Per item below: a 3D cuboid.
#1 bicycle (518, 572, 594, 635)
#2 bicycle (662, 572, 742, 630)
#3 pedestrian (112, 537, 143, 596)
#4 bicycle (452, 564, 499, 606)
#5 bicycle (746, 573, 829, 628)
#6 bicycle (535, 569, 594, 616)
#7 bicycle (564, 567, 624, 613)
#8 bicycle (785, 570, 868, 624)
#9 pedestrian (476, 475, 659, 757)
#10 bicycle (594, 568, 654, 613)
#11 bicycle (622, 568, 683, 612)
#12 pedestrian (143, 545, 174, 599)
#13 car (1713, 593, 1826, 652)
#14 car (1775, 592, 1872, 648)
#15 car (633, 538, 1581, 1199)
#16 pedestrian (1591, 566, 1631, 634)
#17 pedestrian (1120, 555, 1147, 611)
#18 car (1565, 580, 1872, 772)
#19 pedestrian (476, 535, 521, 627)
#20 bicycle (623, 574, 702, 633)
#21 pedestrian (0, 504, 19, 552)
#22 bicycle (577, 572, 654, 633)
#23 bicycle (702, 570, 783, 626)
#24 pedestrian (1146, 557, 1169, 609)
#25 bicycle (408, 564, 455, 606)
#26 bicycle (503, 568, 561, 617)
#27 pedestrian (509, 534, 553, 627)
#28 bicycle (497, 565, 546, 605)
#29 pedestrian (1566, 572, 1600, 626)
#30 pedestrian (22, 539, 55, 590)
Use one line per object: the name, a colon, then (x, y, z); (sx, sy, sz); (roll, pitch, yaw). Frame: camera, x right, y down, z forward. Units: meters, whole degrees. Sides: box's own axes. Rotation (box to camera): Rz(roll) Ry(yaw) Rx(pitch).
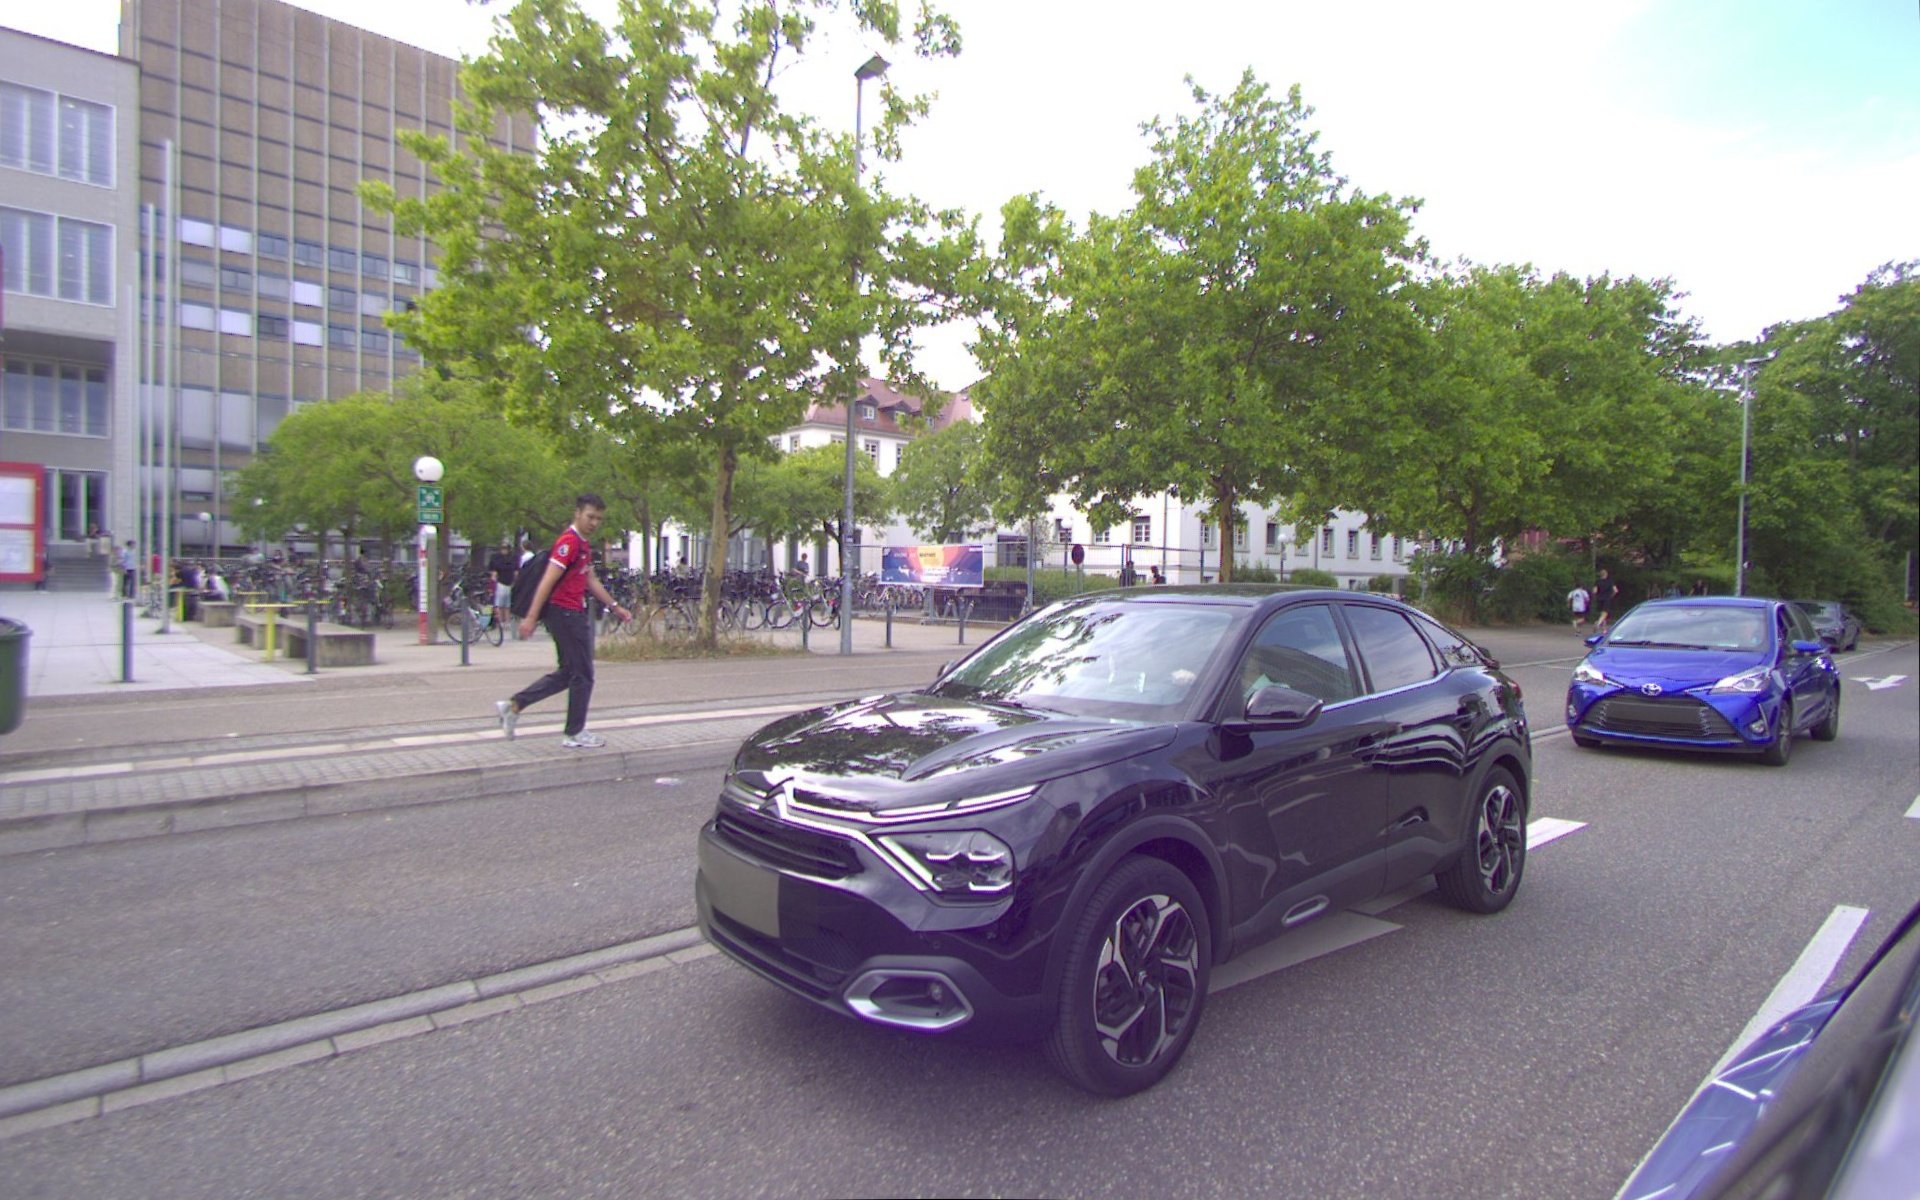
bicycle: (-8.042, 0.039, 20.075); (0.705, 1.156, 2.471); (0, 2, -39)
bicycle: (-5.586, -0.017, 21.803); (0.705, 1.156, 2.471); (0, 2, -39)
pedestrian: (-26.688, -1.060, 32.450); (0.723, 1.867, 0.595); (0, 0, 35)
bicycle: (-14.244, -0.456, 29.708); (0.705, 1.156, 2.471); (0, 2, -39)
bicycle: (-3.874, -0.016, 22.579); (0.705, 1.156, 2.471); (0, 2, -39)
bicycle: (-10.297, -0.227, 26.276); (0.705, 1.156, 2.471); (0, 2, -39)
bicycle: (-9.703, -0.277, 26.766); (0.705, 1.156, 2.471); (0, 2, -39)
bicycle: (-3.079, -0.094, 23.127); (0.705, 1.156, 2.471); (0, 2, -39)
pedestrian: (-2.846, 0.092, 7.360); (1.047, 1.876, 0.726); (0, 1, -43)
bicycle: (-9.080, -0.286, 27.303); (0.705, 1.156, 2.471); (0, 2, -39)
bicycle: (-8.473, -0.298, 27.819); (0.705, 1.156, 2.471); (0, 2, -39)
pedestrian: (-24.741, -0.859, 31.251); (0.723, 1.617, 0.594); (0, 0, 37)
car: (21.380, 0.539, 26.692); (3.766, 1.386, 1.702); (-1, 2, -42)
car: (25.146, 0.518, 29.436); (3.949, 1.481, 1.605); (-1, 2, -42)
car: (0.926, 0.630, 4.383); (4.101, 1.576, 1.803); (0, 0, -40)
pedestrian: (19.158, -0.017, 29.792); (0.747, 1.957, 0.797); (0, 1, -41)
pedestrian: (5.524, -0.538, 32.242); (0.583, 1.760, 0.586); (0, 1, -40)
car: (7.610, 0.582, 10.032); (3.766, 1.512, 1.702); (-1, 2, -42)
pedestrian: (-10.078, -0.418, 22.124); (0.675, 1.988, 0.601); (0, 0, 10)
bicycle: (-6.307, 0.042, 21.385); (0.705, 1.156, 2.471); (0, 2, -39)
pedestrian: (-35.715, -2.679, 37.825); (0.619, 1.736, 0.673); (0, 0, -23)
bicycle: (-7.169, 0.018, 20.961); (0.705, 1.156, 2.471); (0, 2, -39)
bicycle: (-4.844, -0.070, 22.422); (0.705, 1.156, 2.471); (0, 2, -39)
pedestrian: (6.833, -0.591, 35.015); (0.583, 1.774, 0.531); (0, 1, -37)
bicycle: (-15.139, -0.458, 28.944); (0.705, 1.156, 2.471); (0, 2, -39)
bicycle: (-10.922, -0.212, 25.750); (0.705, 1.156, 2.471); (0, 2, -39)
pedestrian: (-9.315, -0.417, 21.984); (0.675, 1.988, 0.601); (0, 0, 10)
bicycle: (-13.263, -0.475, 30.560); (0.705, 1.156, 2.471); (0, 2, -39)
pedestrian: (18.700, -0.040, 30.375); (0.790, 1.584, 0.646); (0, 1, -41)
pedestrian: (-30.816, -1.181, 33.839); (0.590, 1.661, 0.634); (0, 0, -17)
